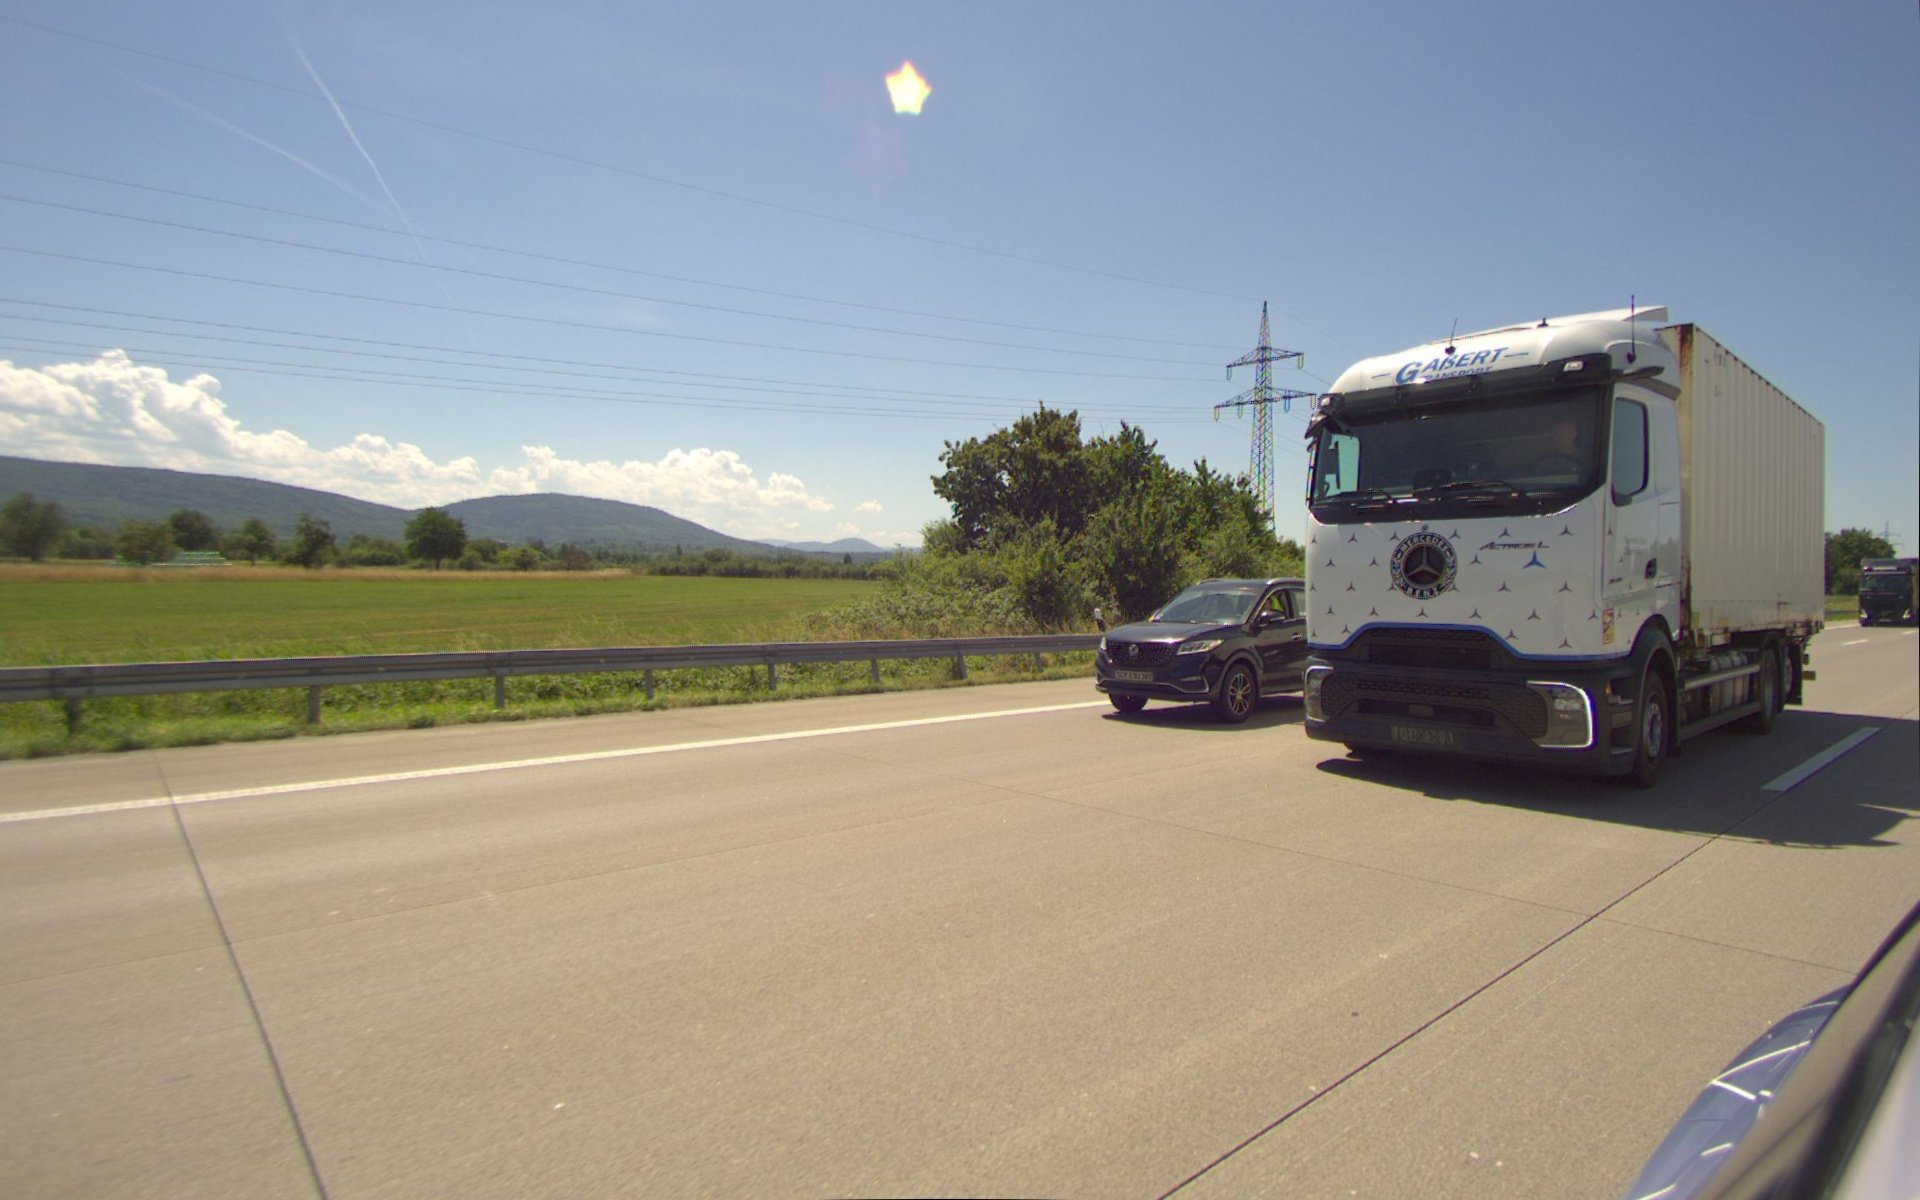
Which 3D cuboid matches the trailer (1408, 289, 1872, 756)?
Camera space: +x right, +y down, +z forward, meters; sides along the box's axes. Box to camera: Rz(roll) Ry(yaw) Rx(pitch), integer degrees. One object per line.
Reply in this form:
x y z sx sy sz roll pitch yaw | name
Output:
9.245 -0.672 12.918 10.196 3.927 2.584 0 0 -42 | trailer

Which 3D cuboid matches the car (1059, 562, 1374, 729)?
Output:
3.367 0.481 12.990 3.928 1.805 1.998 0 0 -40 | car

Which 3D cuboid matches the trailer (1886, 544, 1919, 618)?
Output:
59.969 -1.103 62.989 14.491 4.246 1.996 0 0 -42 | trailer

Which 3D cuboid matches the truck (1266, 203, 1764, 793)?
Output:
5.292 -0.692 9.344 4.899 3.927 2.584 0 0 -42 | truck

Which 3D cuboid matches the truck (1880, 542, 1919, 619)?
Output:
54.825 -1.075 58.406 5.607 4.246 1.996 0 0 -42 | truck
